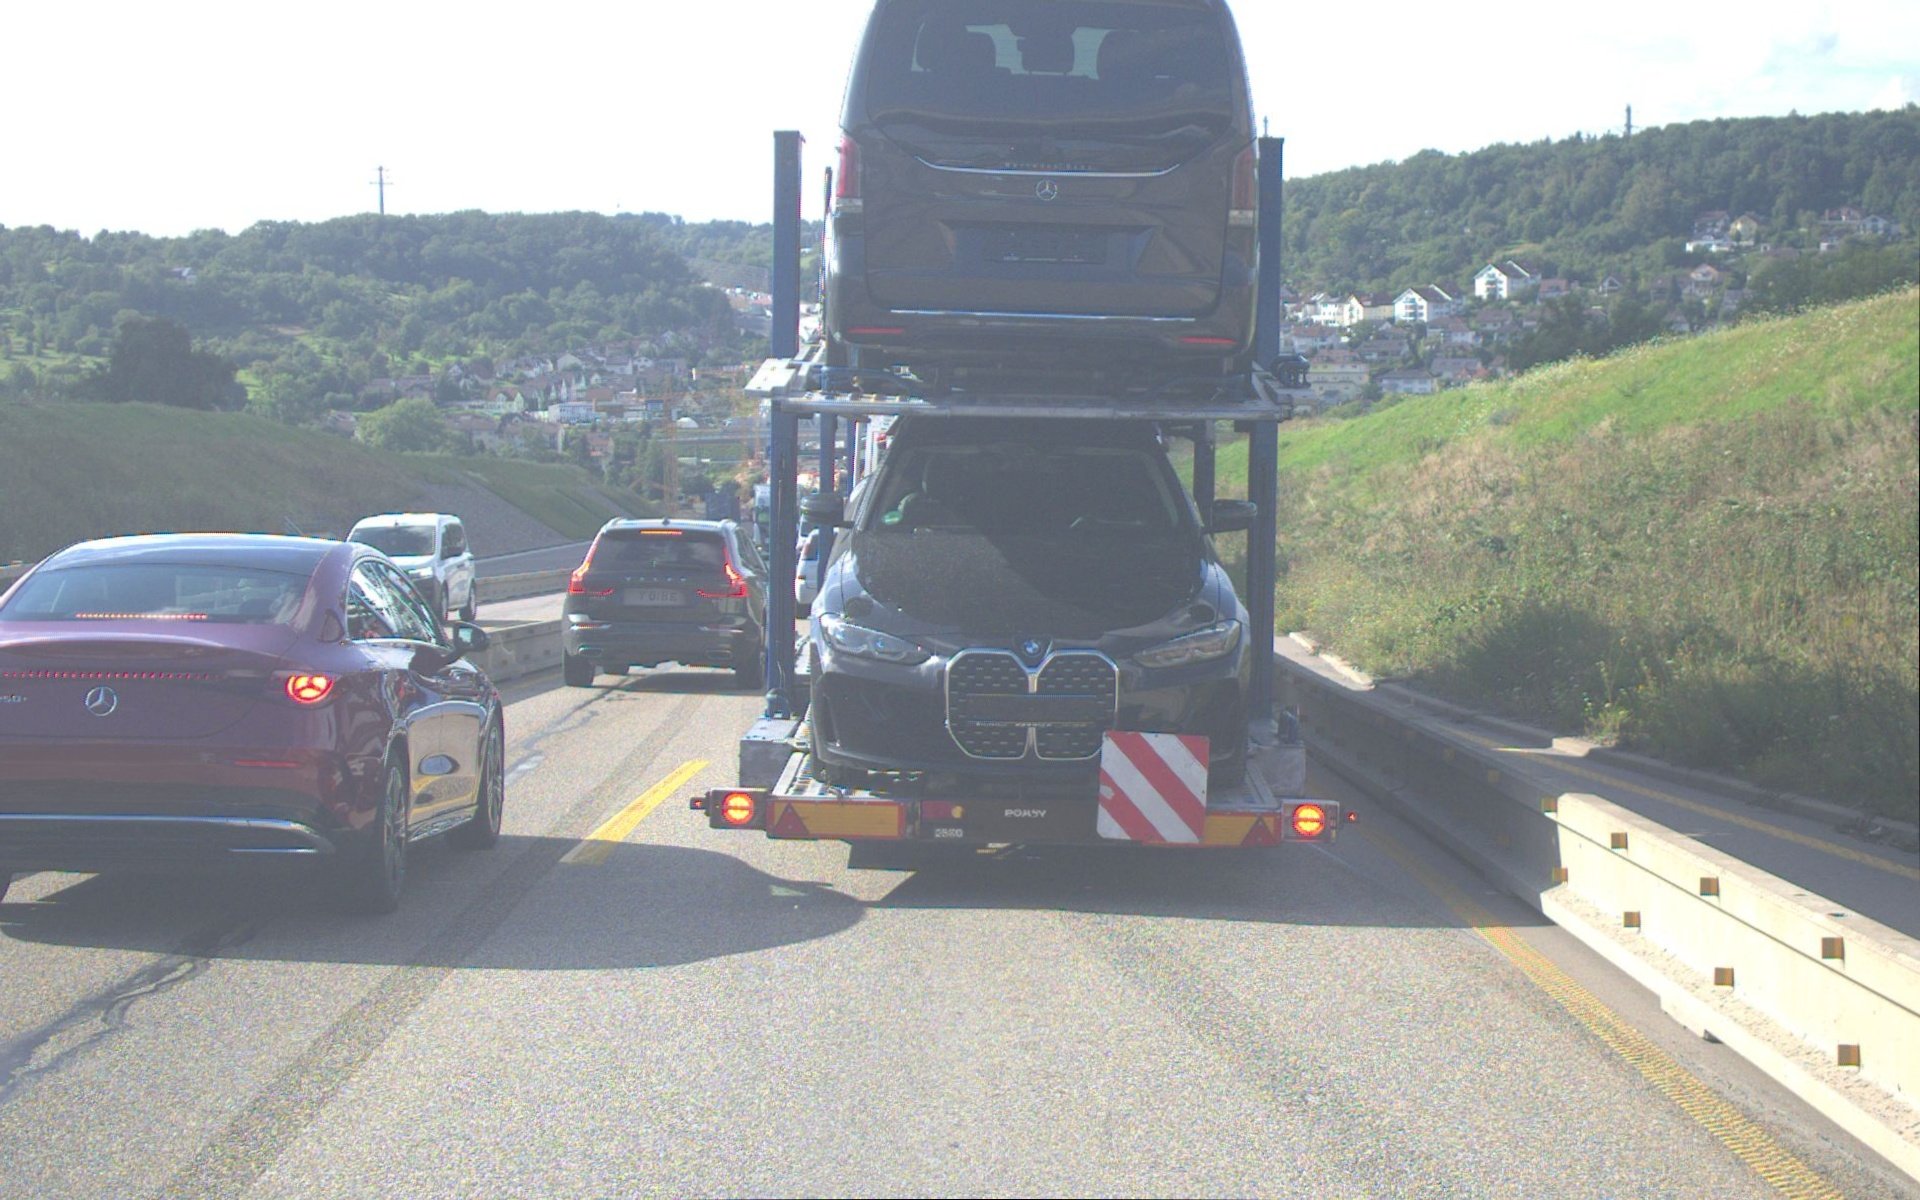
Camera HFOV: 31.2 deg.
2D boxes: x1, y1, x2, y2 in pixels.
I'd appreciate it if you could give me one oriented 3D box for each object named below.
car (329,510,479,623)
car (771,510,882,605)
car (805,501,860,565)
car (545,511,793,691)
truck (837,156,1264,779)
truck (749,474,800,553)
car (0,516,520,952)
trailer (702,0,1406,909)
[{"bbox_3d":[-8.888,-0.572,55.256,1.734,1.653,4.218,-3,2,-1],"label":"car"},{"bbox_3d":[-2.321,-0.781,60.840,1.796,1.591,4.743,0,1,0],"label":"car"},{"bbox_3d":[-5.932,-3.121,160.685,2.110,2.826,6.139,-3,1,1],"label":"car"},{"bbox_3d":[-2.812,-0.052,34.202,1.993,1.619,4.750,1,2,1],"label":"car"},{"bbox_3d":[0.613,-0.895,24.596,2.678,3.908,6.027,0,1,1],"label":"truck"},{"bbox_3d":[-9.926,-4.623,183.653,2.614,4.139,5.782,0,1,-4],"label":"truck"},{"bbox_3d":[-3.069,0.418,14.524,1.823,1.487,4.685,1,2,0],"label":"car"},{"bbox_3d":[0.474,-0.943,18.962,2.708,4.015,11.419,0,1,1],"label":"trailer"}]
